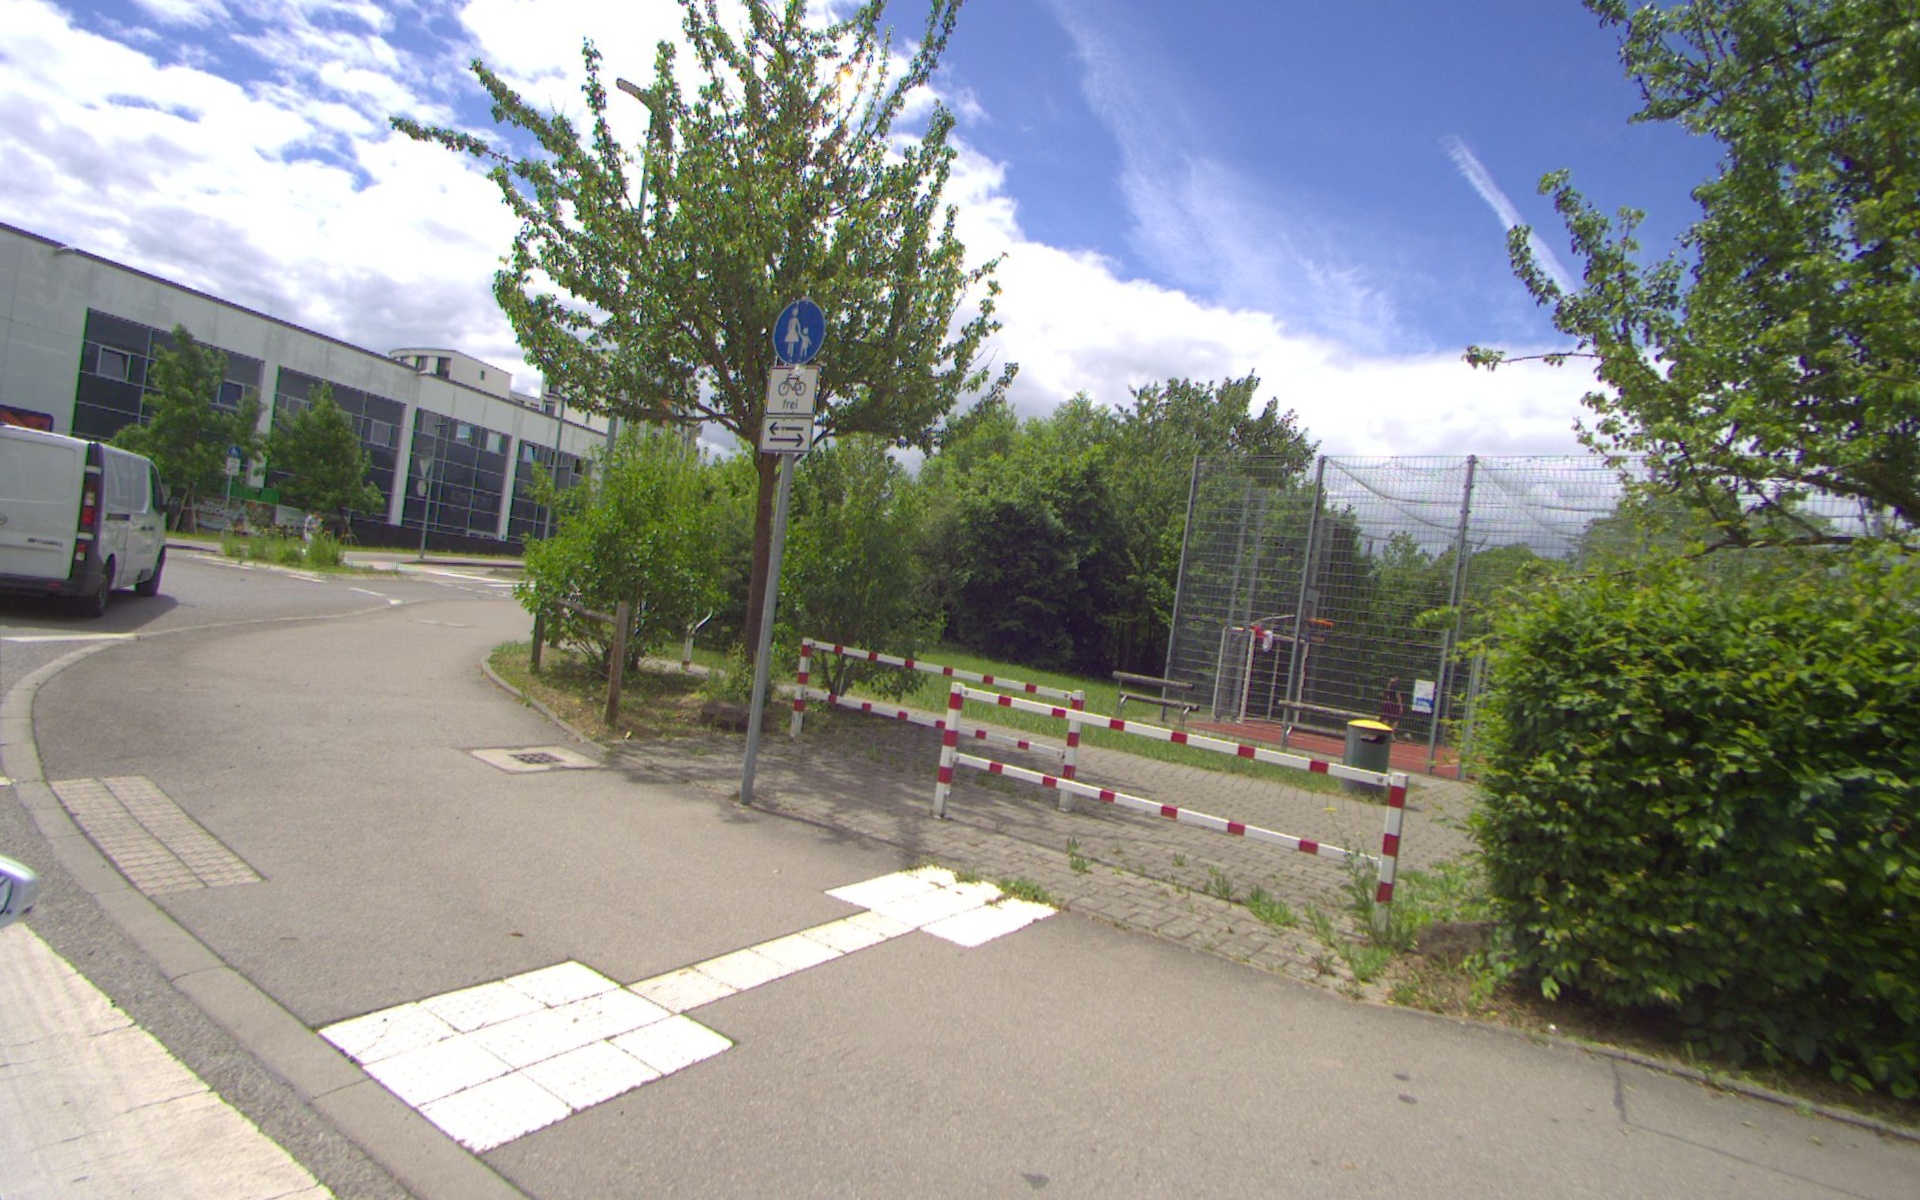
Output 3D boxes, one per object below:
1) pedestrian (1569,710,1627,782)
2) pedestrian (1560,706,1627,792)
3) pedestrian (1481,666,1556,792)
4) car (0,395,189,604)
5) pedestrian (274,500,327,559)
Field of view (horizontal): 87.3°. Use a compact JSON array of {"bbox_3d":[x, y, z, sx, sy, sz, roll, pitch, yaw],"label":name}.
[{"bbox_3d":[13.502,3.086,21.302,0.456,1.362,0.795,9,-1,-21],"label":"pedestrian"},{"bbox_3d":[11.196,2.627,17.787,0.788,1.362,0.460,7,-2,43],"label":"pedestrian"},{"bbox_3d":[8.860,2.034,15.963,0.741,1.861,0.551,7,-2,41],"label":"pedestrian"},{"bbox_3d":[-11.061,-1.186,12.153,2.022,1.967,4.953,10,-2,-31],"label":"car"},{"bbox_3d":[-19.429,-2.063,29.672,1.025,1.558,0.889,9,-2,-27],"label":"pedestrian"}]
